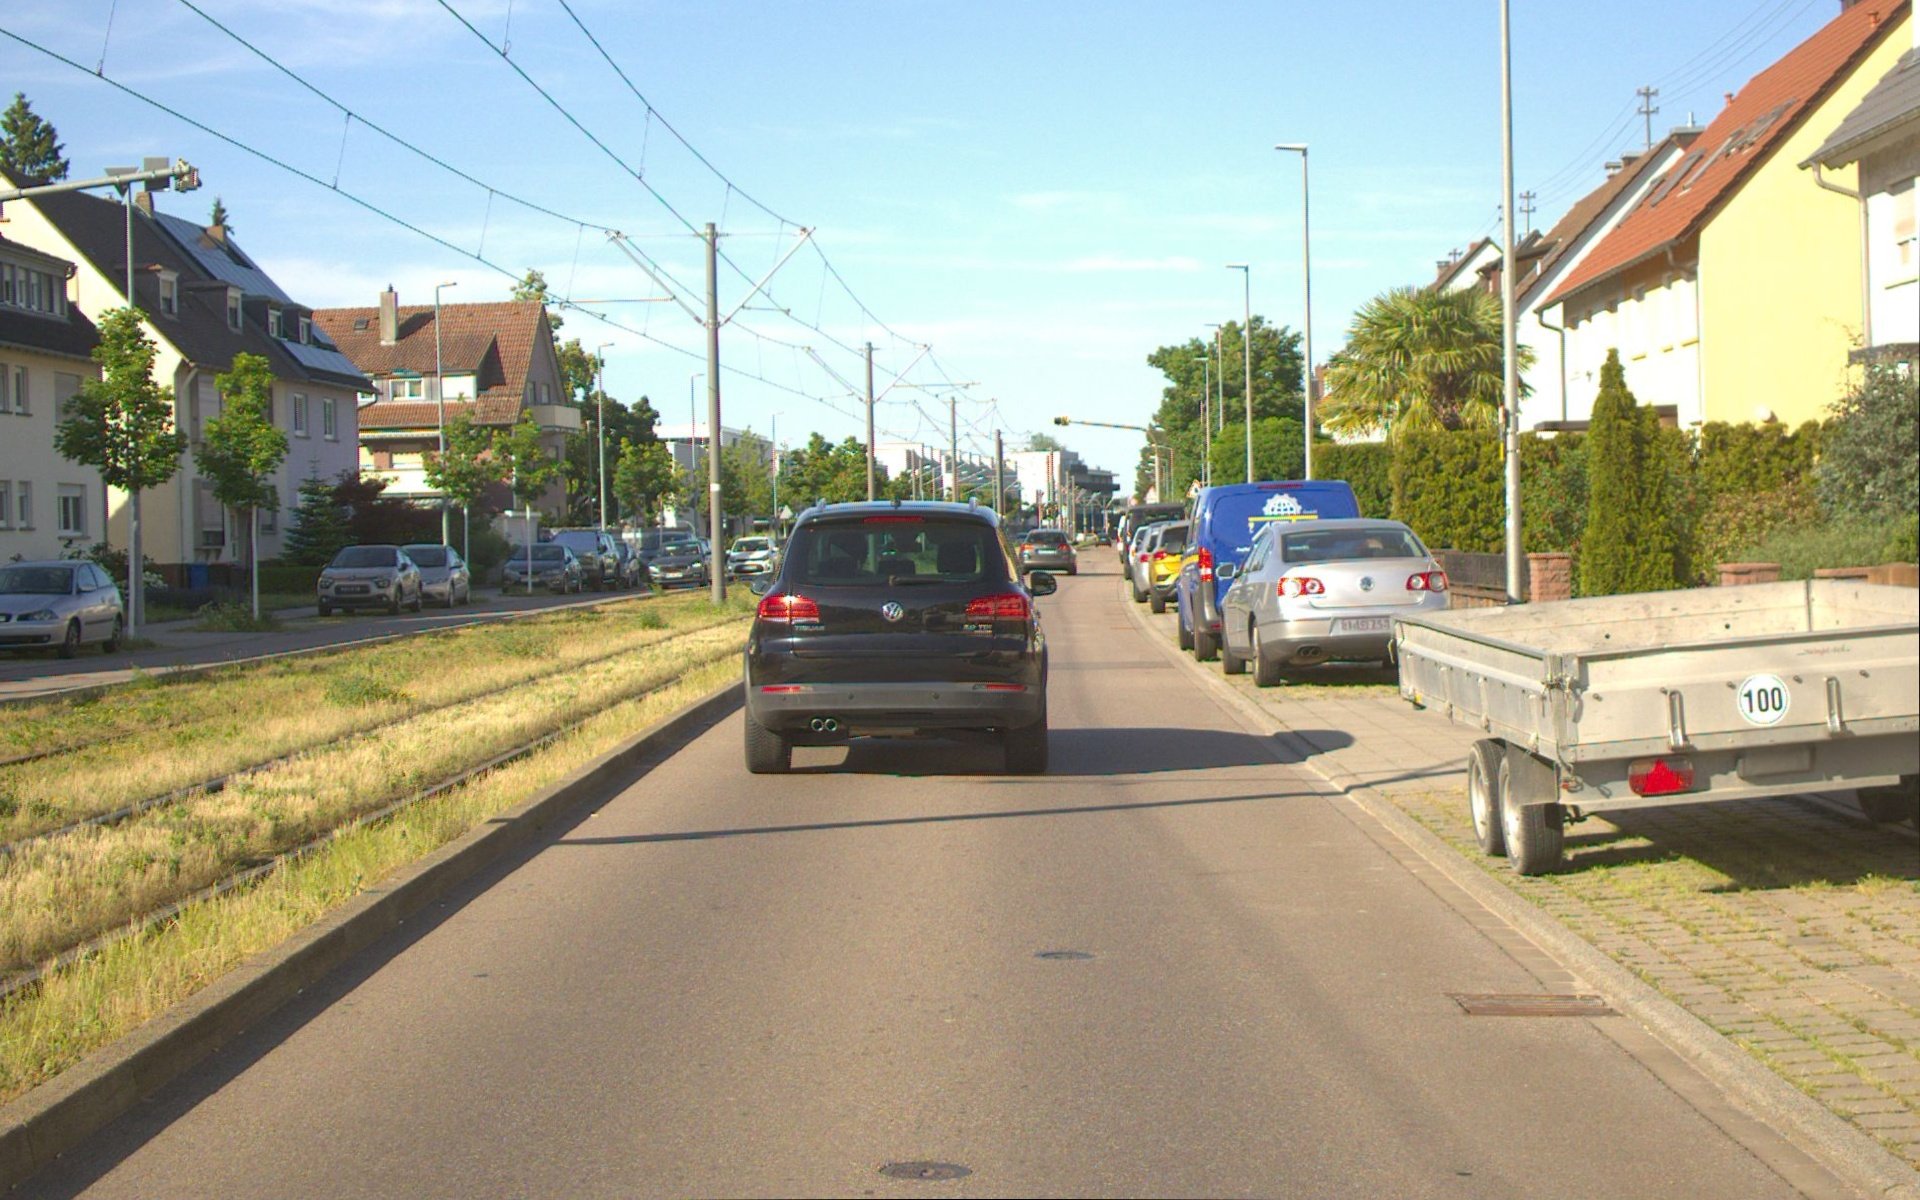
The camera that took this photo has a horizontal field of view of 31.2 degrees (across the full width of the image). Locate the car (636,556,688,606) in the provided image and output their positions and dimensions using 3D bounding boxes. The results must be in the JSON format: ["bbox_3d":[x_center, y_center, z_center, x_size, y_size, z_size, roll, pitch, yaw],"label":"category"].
[{"bbox_3d":[-10.287,-0.662,118.863,1.465,1.671,3.287,-1,0,1],"label":"car"}]

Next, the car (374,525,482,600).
[{"bbox_3d":[-12.322,-0.887,79.889,1.803,1.626,4.000,-1,1,1],"label":"car"}]

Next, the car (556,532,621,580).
[{"bbox_3d":[-10.989,-1.319,101.853,1.515,1.357,3.590,-2,1,0],"label":"car"}]

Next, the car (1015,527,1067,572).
[{"bbox_3d":[2.596,-1.639,110.511,1.572,1.386,3.615,-1,1,0],"label":"car"}]

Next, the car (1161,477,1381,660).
[{"bbox_3d":[3.381,-0.381,38.210,1.993,1.855,4.917,-1,1,1],"label":"car"}]

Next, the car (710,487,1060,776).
[{"bbox_3d":[-0.583,0.161,22.089,1.811,1.665,4.259,0,1,-7],"label":"car"}]

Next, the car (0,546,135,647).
[{"bbox_3d":[-13.429,-0.033,50.611,1.618,1.404,3.717,-1,0,1],"label":"car"}]

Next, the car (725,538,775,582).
[{"bbox_3d":[-7.196,-1.379,118.146,1.465,1.449,3.287,-1,0,1],"label":"car"}]

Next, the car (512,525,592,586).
[{"bbox_3d":[-11.354,-1.220,95.908,1.660,1.575,4.000,-1,0,1],"label":"car"}]

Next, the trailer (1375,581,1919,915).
[{"bbox_3d":[3.230,0.542,15.077,2.204,1.090,4.372,-3,1,-1],"label":"trailer"}]

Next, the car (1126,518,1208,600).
[{"bbox_3d":[4.043,-0.826,67.604,1.451,1.546,3.829,-1,1,2],"label":"car"}]

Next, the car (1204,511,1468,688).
[{"bbox_3d":[3.400,-0.054,31.840,1.786,1.436,4.460,-3,1,-1],"label":"car"}]

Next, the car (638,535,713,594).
[{"bbox_3d":[-8.556,-1.049,103.692,1.873,1.649,4.000,-1,0,1],"label":"car"}]

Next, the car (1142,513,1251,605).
[{"bbox_3d":[4.113,-0.730,60.148,1.645,1.529,3.864,-1,1,0],"label":"car"}]

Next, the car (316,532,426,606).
[{"bbox_3d":[-12.602,-0.682,73.735,1.659,1.491,3.579,-2,1,1],"label":"car"}]
